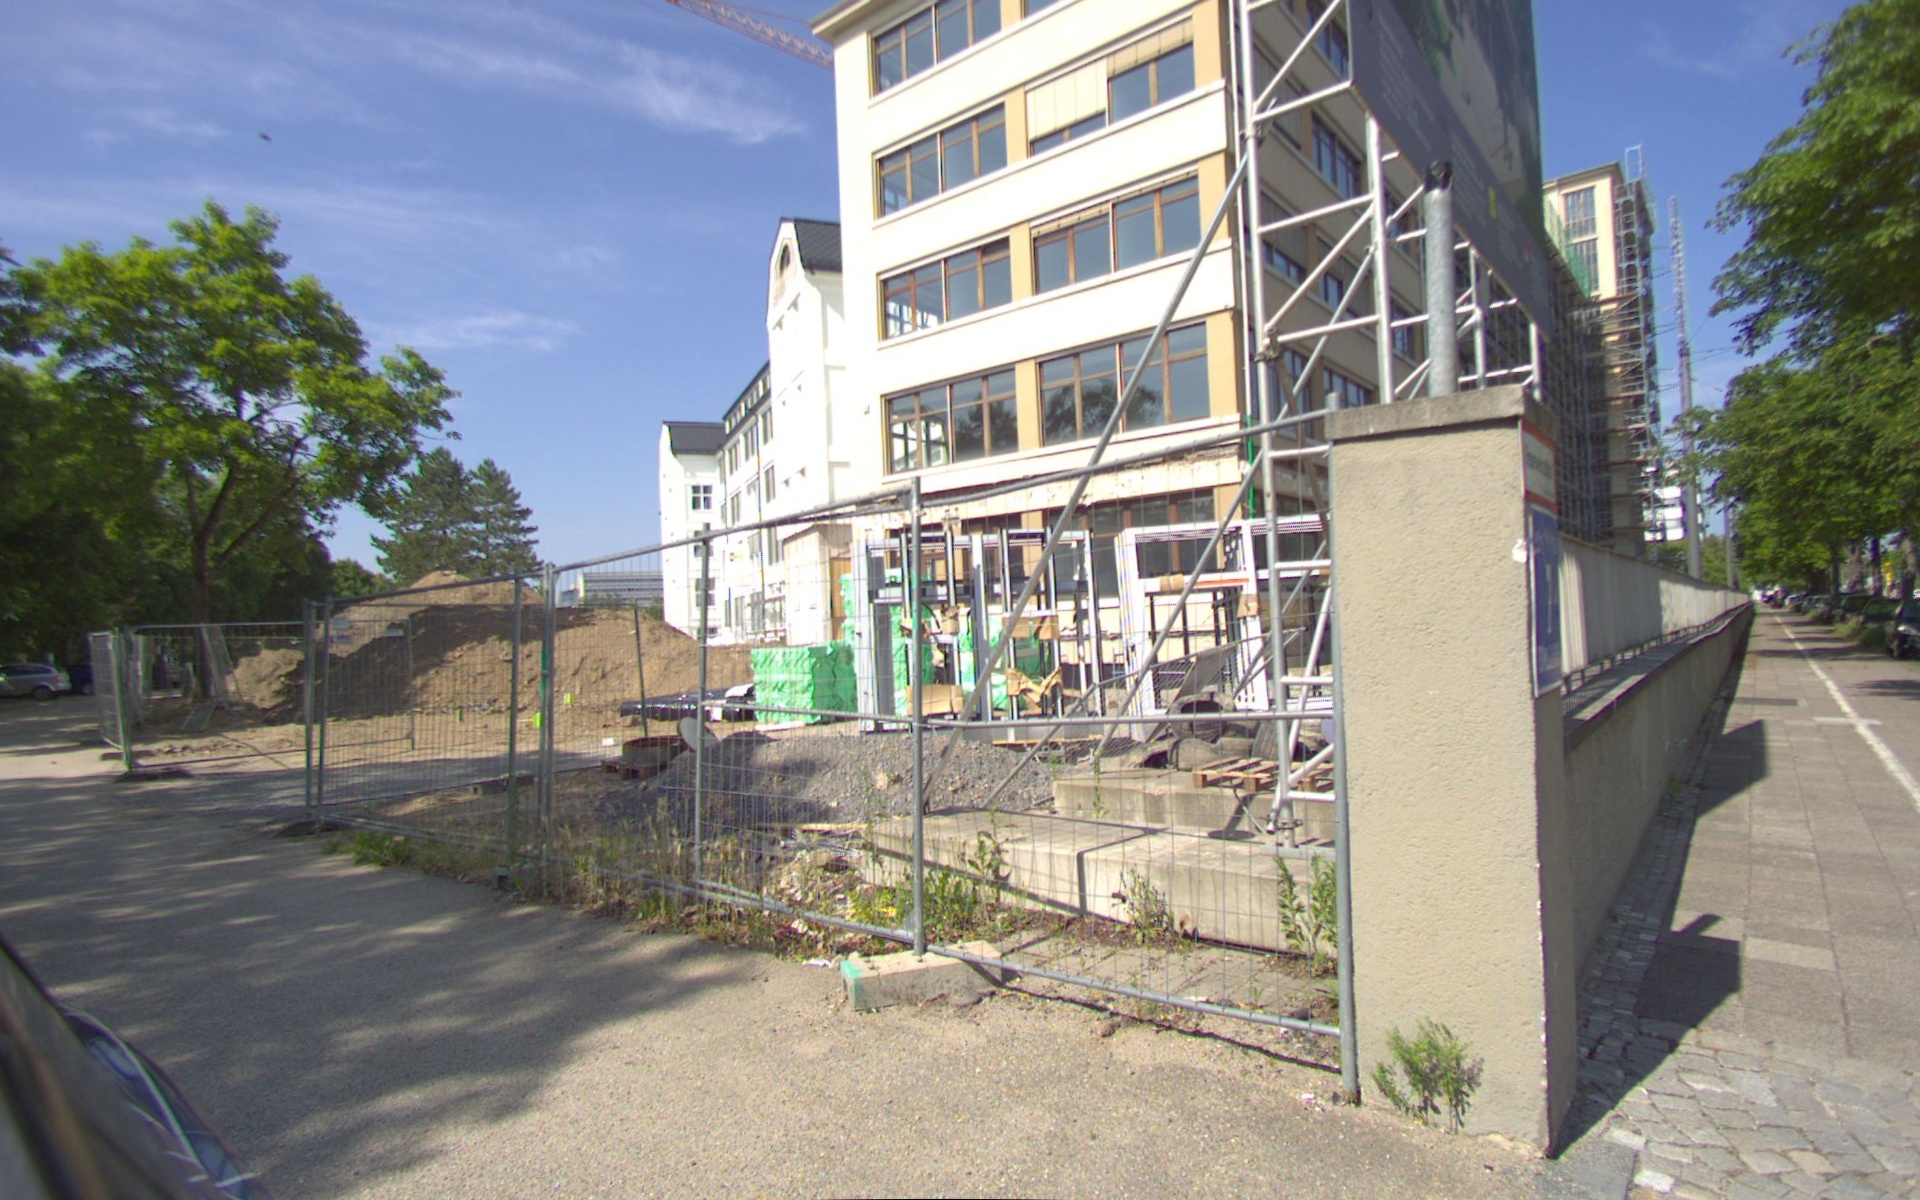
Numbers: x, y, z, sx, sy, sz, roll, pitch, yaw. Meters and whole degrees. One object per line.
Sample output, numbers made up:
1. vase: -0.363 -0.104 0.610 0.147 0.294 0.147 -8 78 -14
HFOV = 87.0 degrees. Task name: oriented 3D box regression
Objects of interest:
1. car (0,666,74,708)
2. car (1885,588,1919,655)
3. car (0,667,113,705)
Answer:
1. car: -38.249 3.514 40.463 3.932 1.519 2.006 -1 -2 -31
2. car: 22.665 0.428 23.176 1.819 1.464 3.949 -4 -2 38
3. car: -40.670 3.834 45.283 3.932 1.453 2.006 -1 -2 -31
